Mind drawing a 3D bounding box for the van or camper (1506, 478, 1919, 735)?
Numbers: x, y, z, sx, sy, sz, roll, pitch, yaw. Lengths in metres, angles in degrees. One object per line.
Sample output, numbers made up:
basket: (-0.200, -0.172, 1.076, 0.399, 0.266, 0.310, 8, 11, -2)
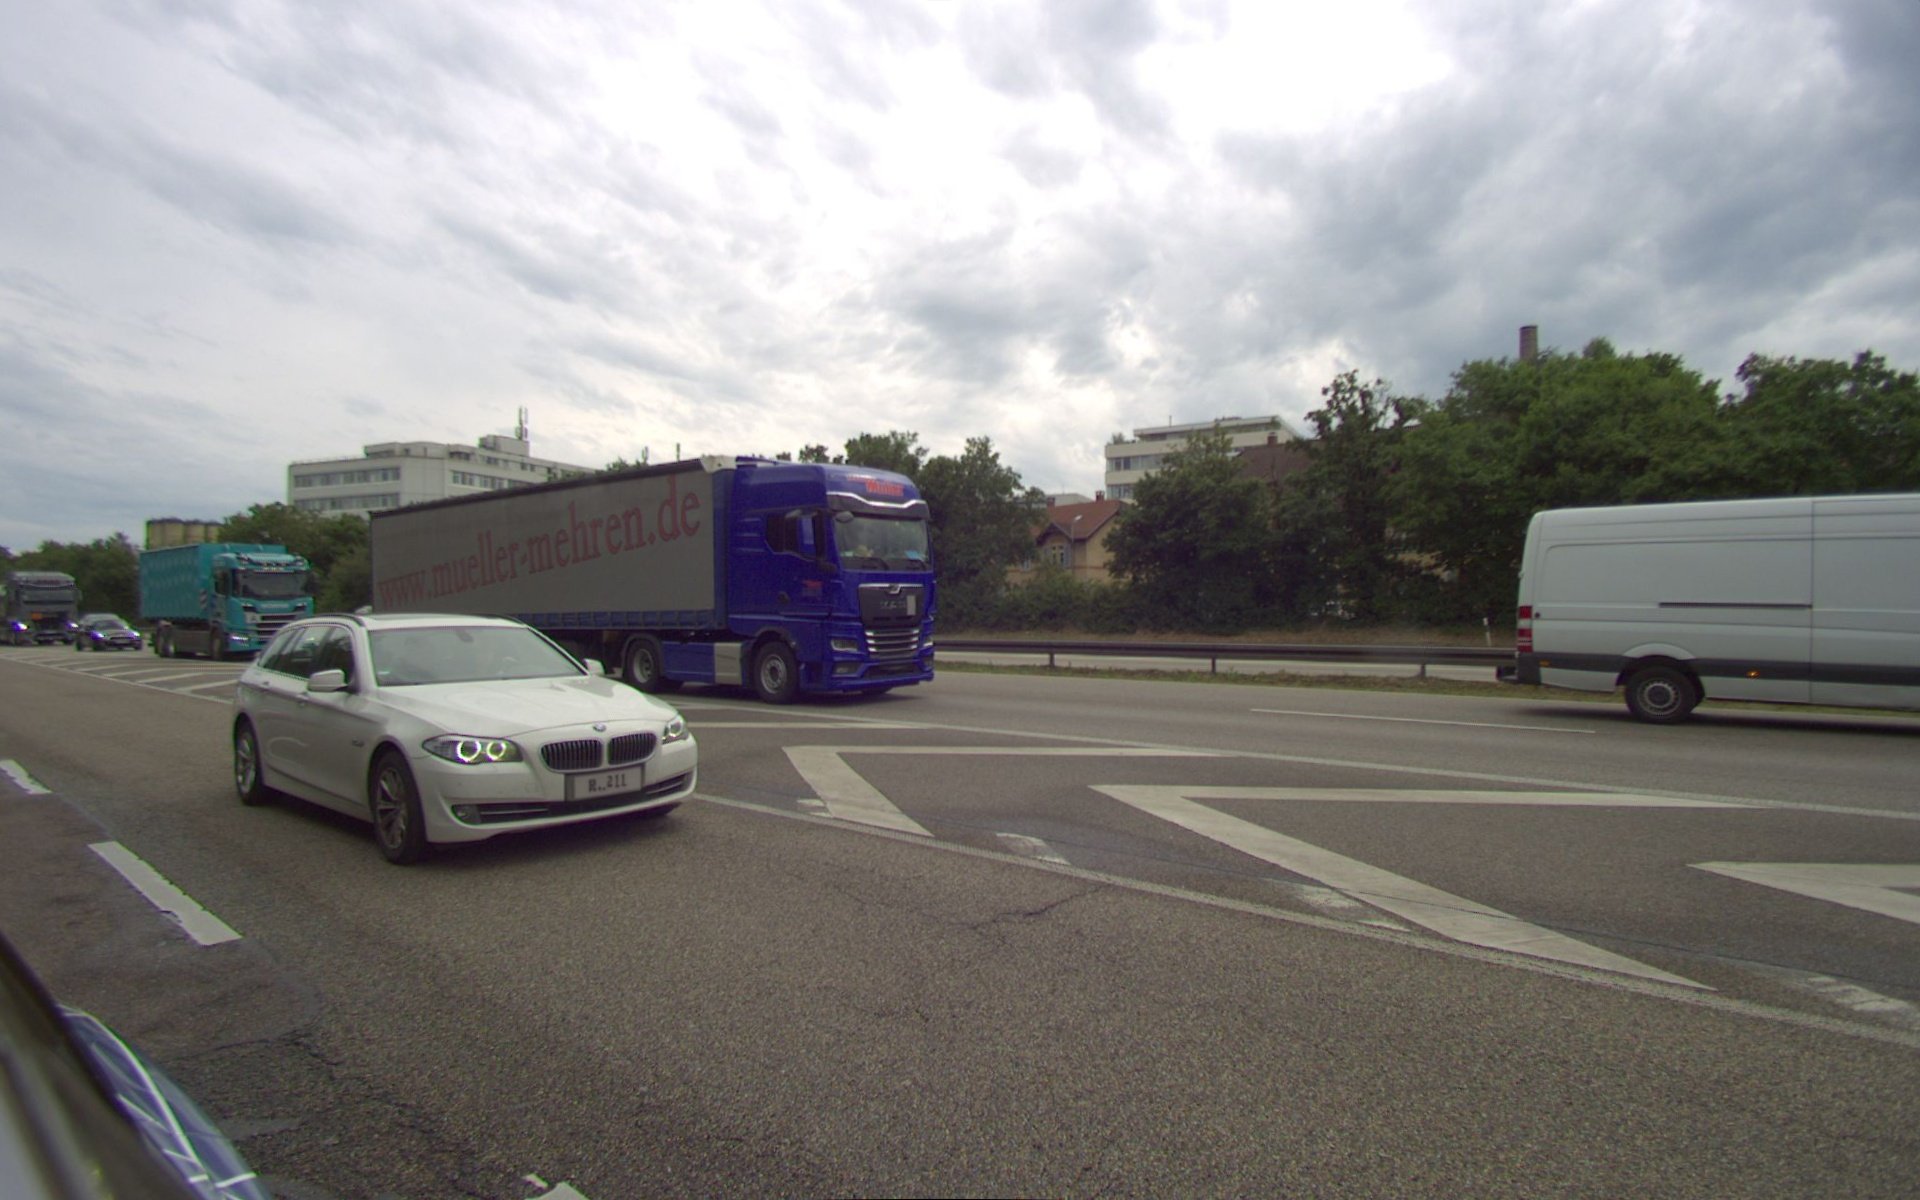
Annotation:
van or camper: (10.270, 0.083, 11.413, 6.951, 2.641, 2.028, -1, -2, 40)

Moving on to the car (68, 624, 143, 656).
car: (-38.022, 1.754, 45.009, 3.994, 1.332, 1.736, -1, -1, 38)

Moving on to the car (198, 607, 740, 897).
car: (-3.891, 0.830, 7.527, 4.881, 1.475, 1.840, -1, -1, 41)

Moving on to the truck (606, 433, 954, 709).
truck: (-3.254, -0.364, 17.489, 5.919, 3.991, 2.643, -1, -1, 38)

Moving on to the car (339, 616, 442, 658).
car: (-20.763, 1.314, 36.877, 3.994, 1.444, 1.875, -1, -1, 38)

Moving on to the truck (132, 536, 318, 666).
truck: (-26.052, 0.117, 35.610, 10.111, 4.031, 2.667, -1, -1, 38)

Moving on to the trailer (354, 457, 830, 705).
trailer: (-8.655, -0.190, 21.702, 13.899, 4.005, 2.648, -1, -1, 38)

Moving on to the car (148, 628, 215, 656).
car: (-41.360, 2.196, 53.731, 4.049, 1.444, 1.875, -1, -1, 38)

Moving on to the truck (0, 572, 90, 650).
truck: (-52.823, 0.669, 56.910, 13.123, 3.955, 3.288, -1, -1, 37)
